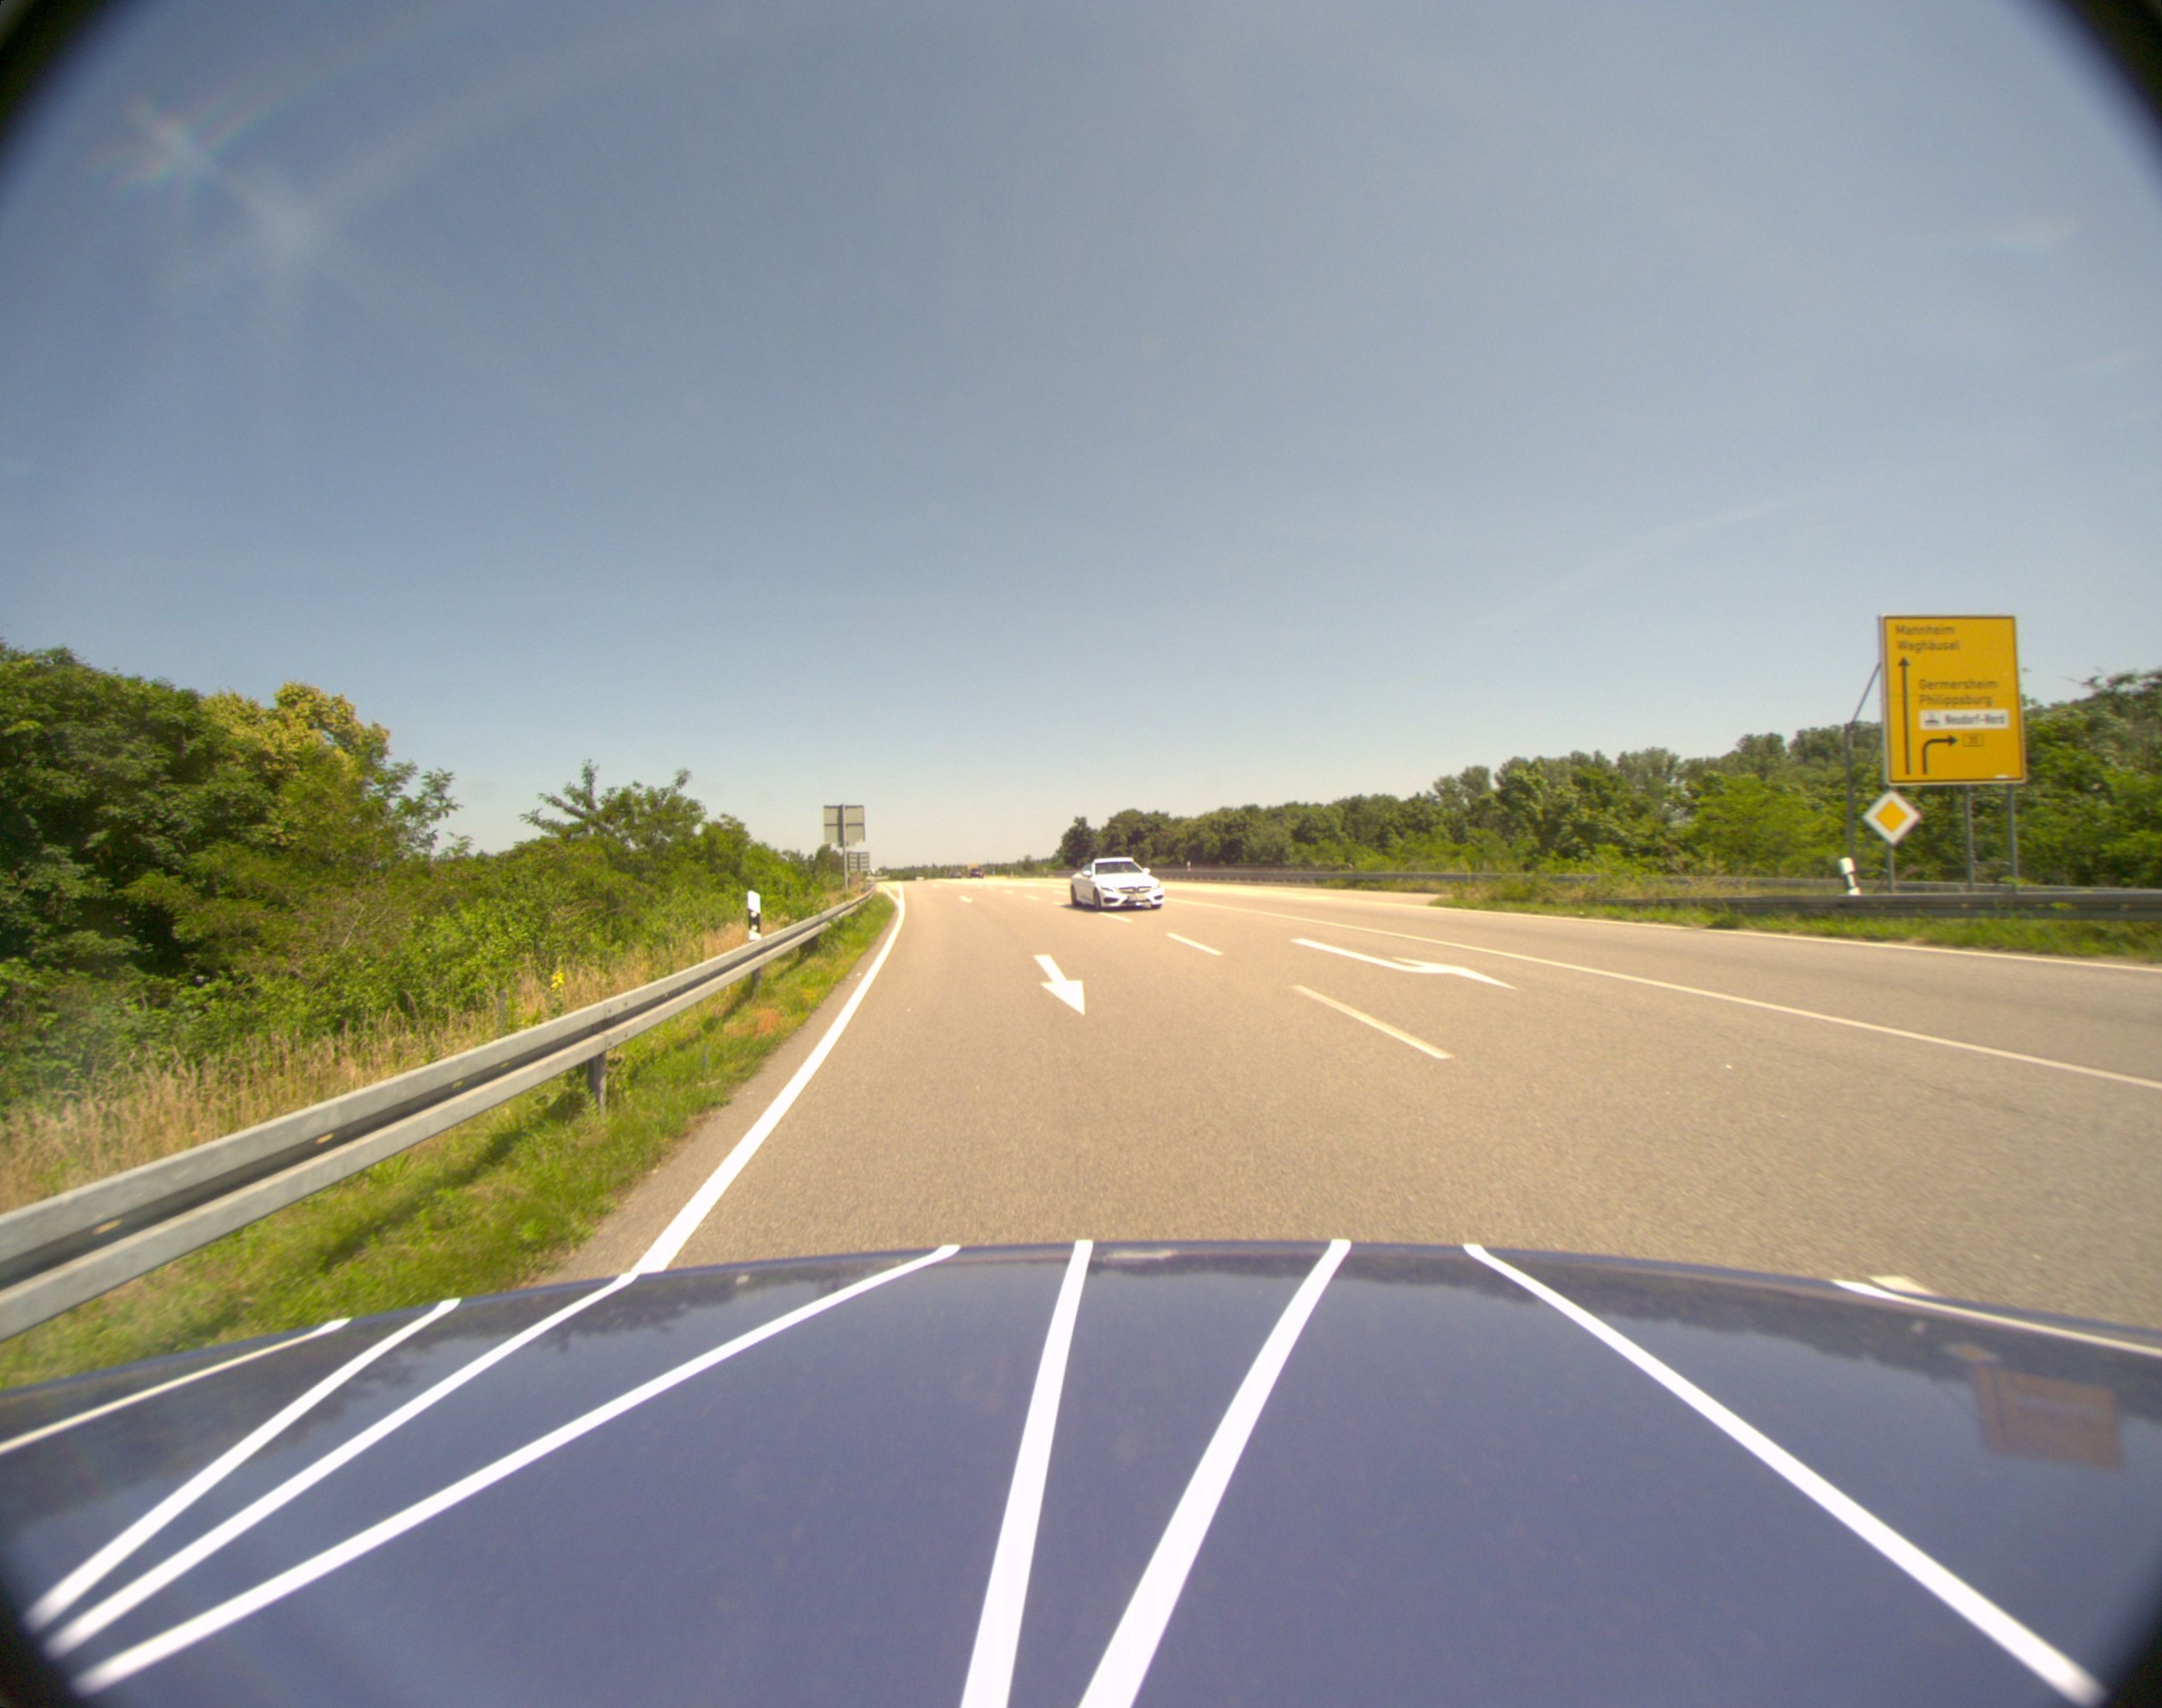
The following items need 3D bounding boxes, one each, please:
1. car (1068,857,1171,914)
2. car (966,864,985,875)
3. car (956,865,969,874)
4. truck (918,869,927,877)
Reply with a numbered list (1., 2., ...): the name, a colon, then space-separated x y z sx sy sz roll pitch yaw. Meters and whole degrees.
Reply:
1. car: 0.992 0.856 21.867 1.815 1.407 4.106 -3 0 -13
2. car: -13.279 1.942 95.367 1.741 1.392 4.375 0 -1 -16
3. car: -19.969 2.579 127.720 1.730 1.444 4.789 0 -1 -14
4. truck: -44.951 5.286 215.200 2.215 2.229 5.367 -2 -1 -15
